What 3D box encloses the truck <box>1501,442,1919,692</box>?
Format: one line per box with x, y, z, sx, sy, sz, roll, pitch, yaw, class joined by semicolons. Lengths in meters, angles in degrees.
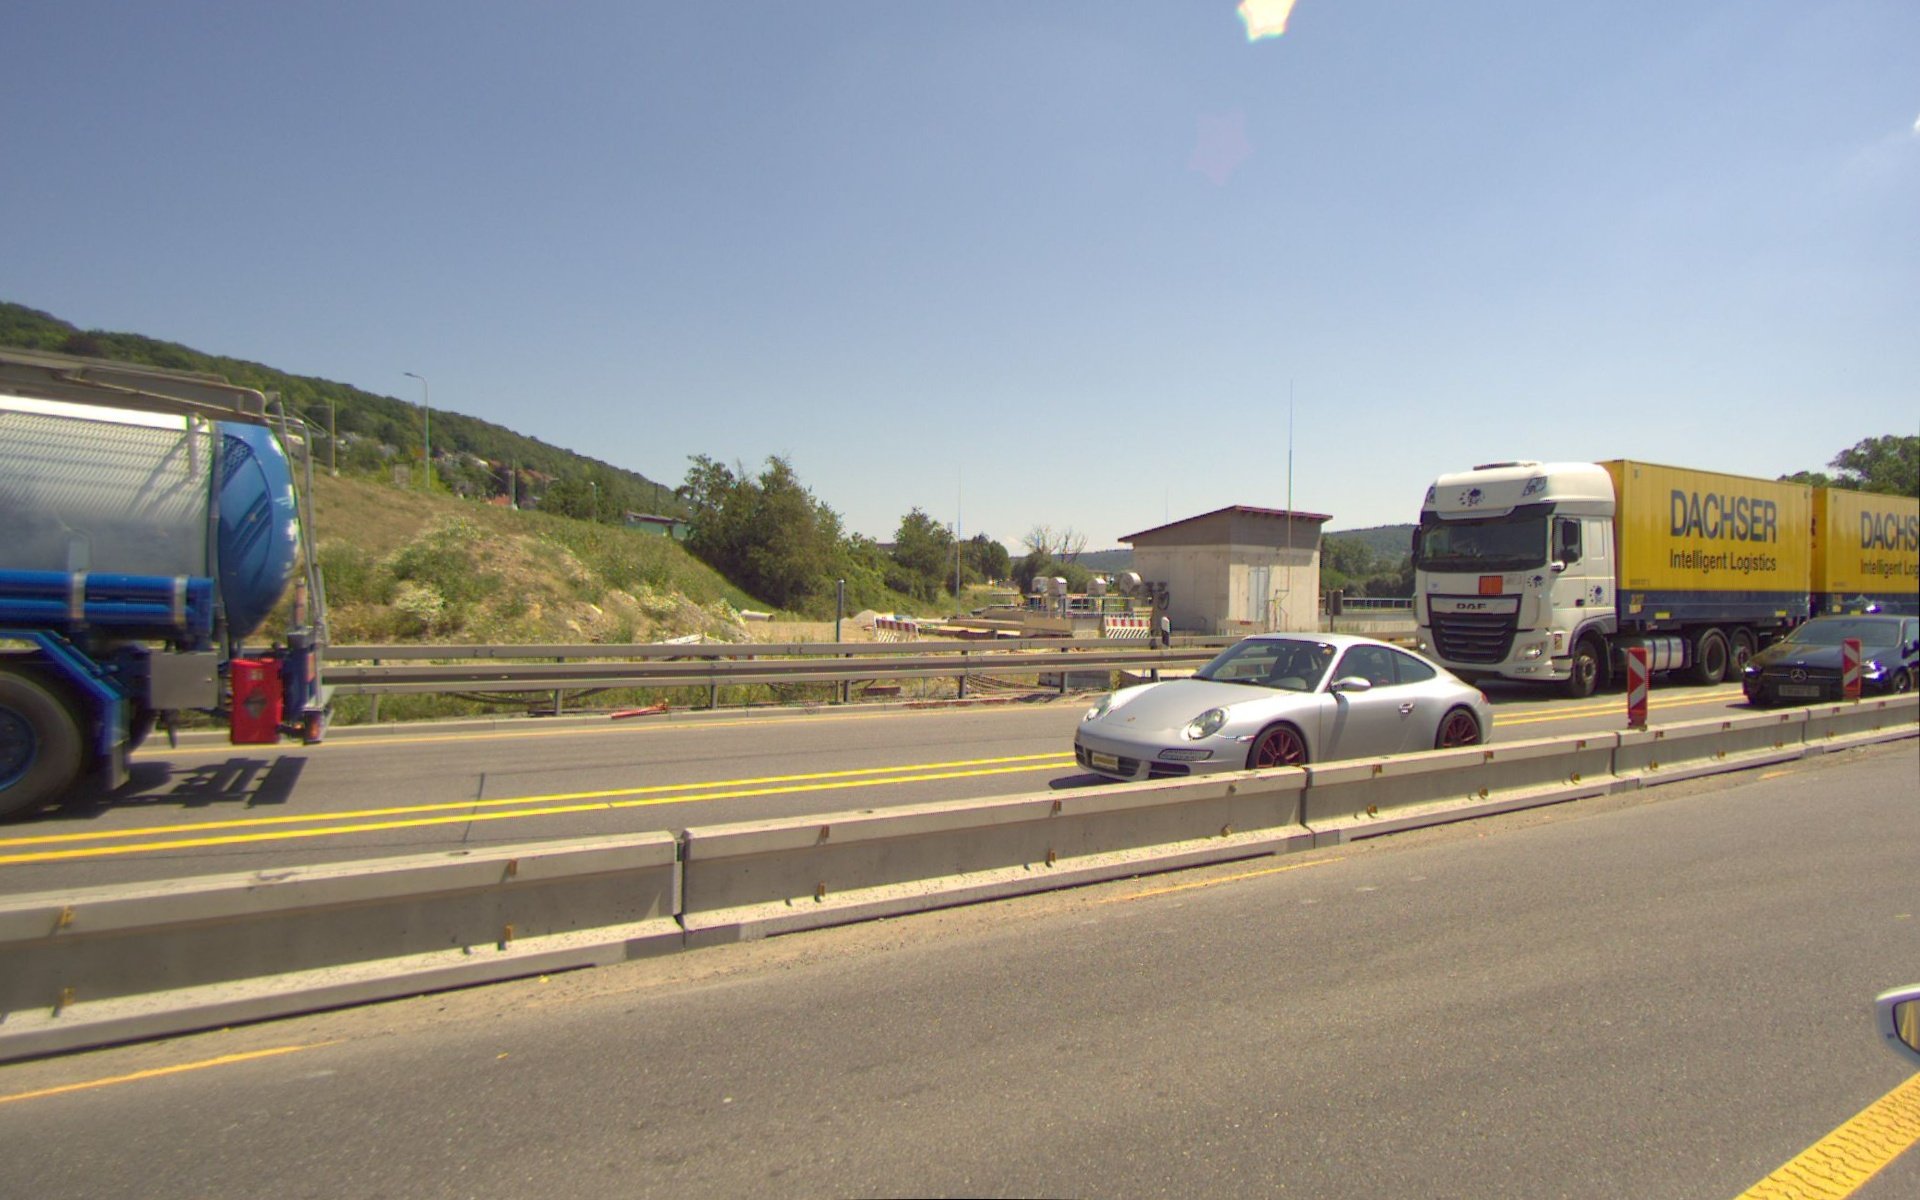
18.137;-0.521;22.672;15.190;4.400;2.794;1;1;-30;truck

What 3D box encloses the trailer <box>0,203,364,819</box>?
-9.367;-0.661;5.735;10.125;3.840;2.513;2;1;-30;trailer

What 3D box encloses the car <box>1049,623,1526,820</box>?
3.007;0.903;8.928;4.287;1.282;1.667;0;1;-32;car

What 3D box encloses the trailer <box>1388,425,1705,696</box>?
10.772;-0.592;18.422;5.157;4.286;2.852;1;0;-30;trailer

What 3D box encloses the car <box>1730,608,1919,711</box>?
14.119;0.848;15.842;4.452;1.380;1.667;0;1;-32;car
